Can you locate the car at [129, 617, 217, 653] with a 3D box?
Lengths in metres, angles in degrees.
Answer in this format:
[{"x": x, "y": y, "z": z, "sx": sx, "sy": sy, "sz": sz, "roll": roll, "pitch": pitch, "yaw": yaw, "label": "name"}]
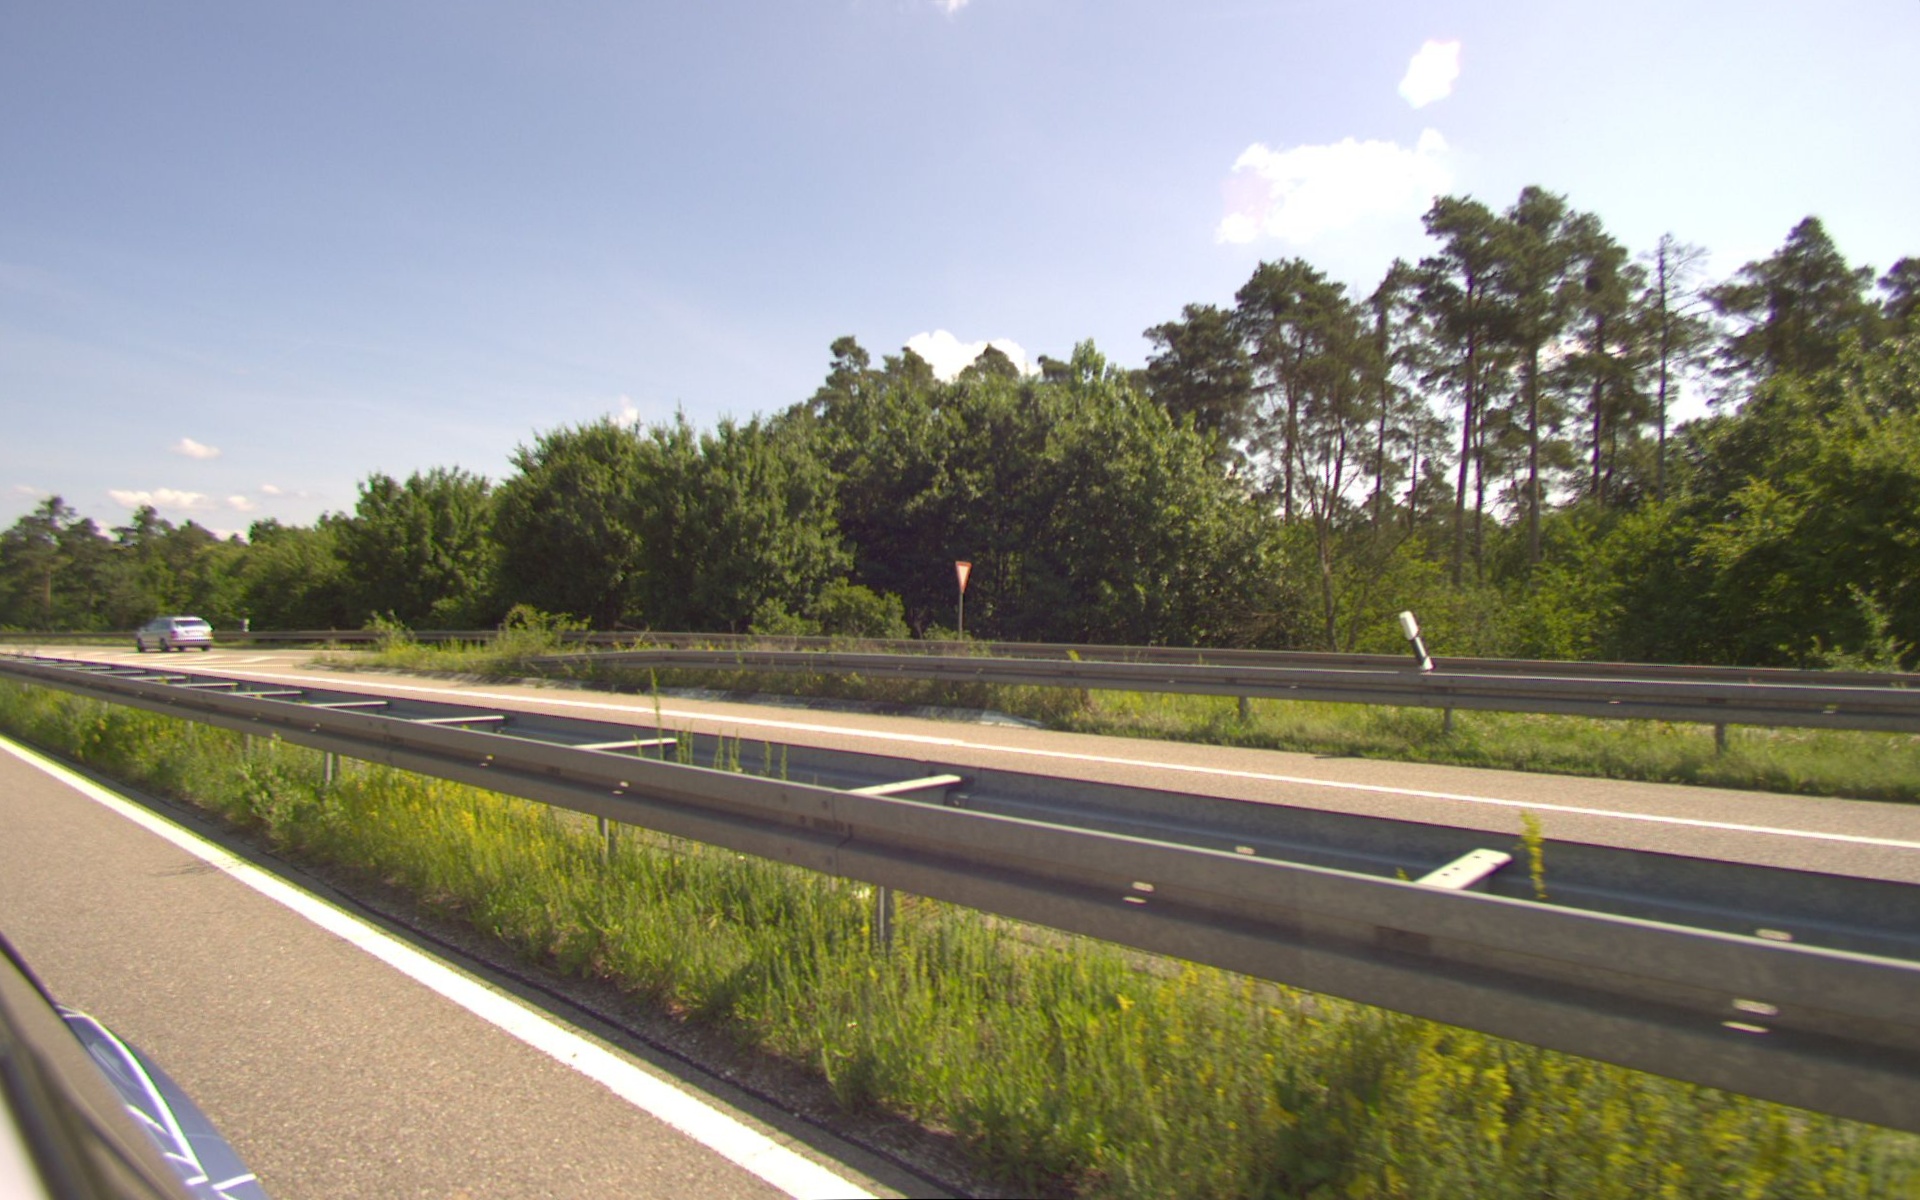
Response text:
[{"x": -32.883, "y": 1.461, "z": 42.251, "sx": 4.199, "sy": 1.439, "sz": 1.665, "roll": -2, "pitch": -1, "yaw": 33, "label": "car"}]
